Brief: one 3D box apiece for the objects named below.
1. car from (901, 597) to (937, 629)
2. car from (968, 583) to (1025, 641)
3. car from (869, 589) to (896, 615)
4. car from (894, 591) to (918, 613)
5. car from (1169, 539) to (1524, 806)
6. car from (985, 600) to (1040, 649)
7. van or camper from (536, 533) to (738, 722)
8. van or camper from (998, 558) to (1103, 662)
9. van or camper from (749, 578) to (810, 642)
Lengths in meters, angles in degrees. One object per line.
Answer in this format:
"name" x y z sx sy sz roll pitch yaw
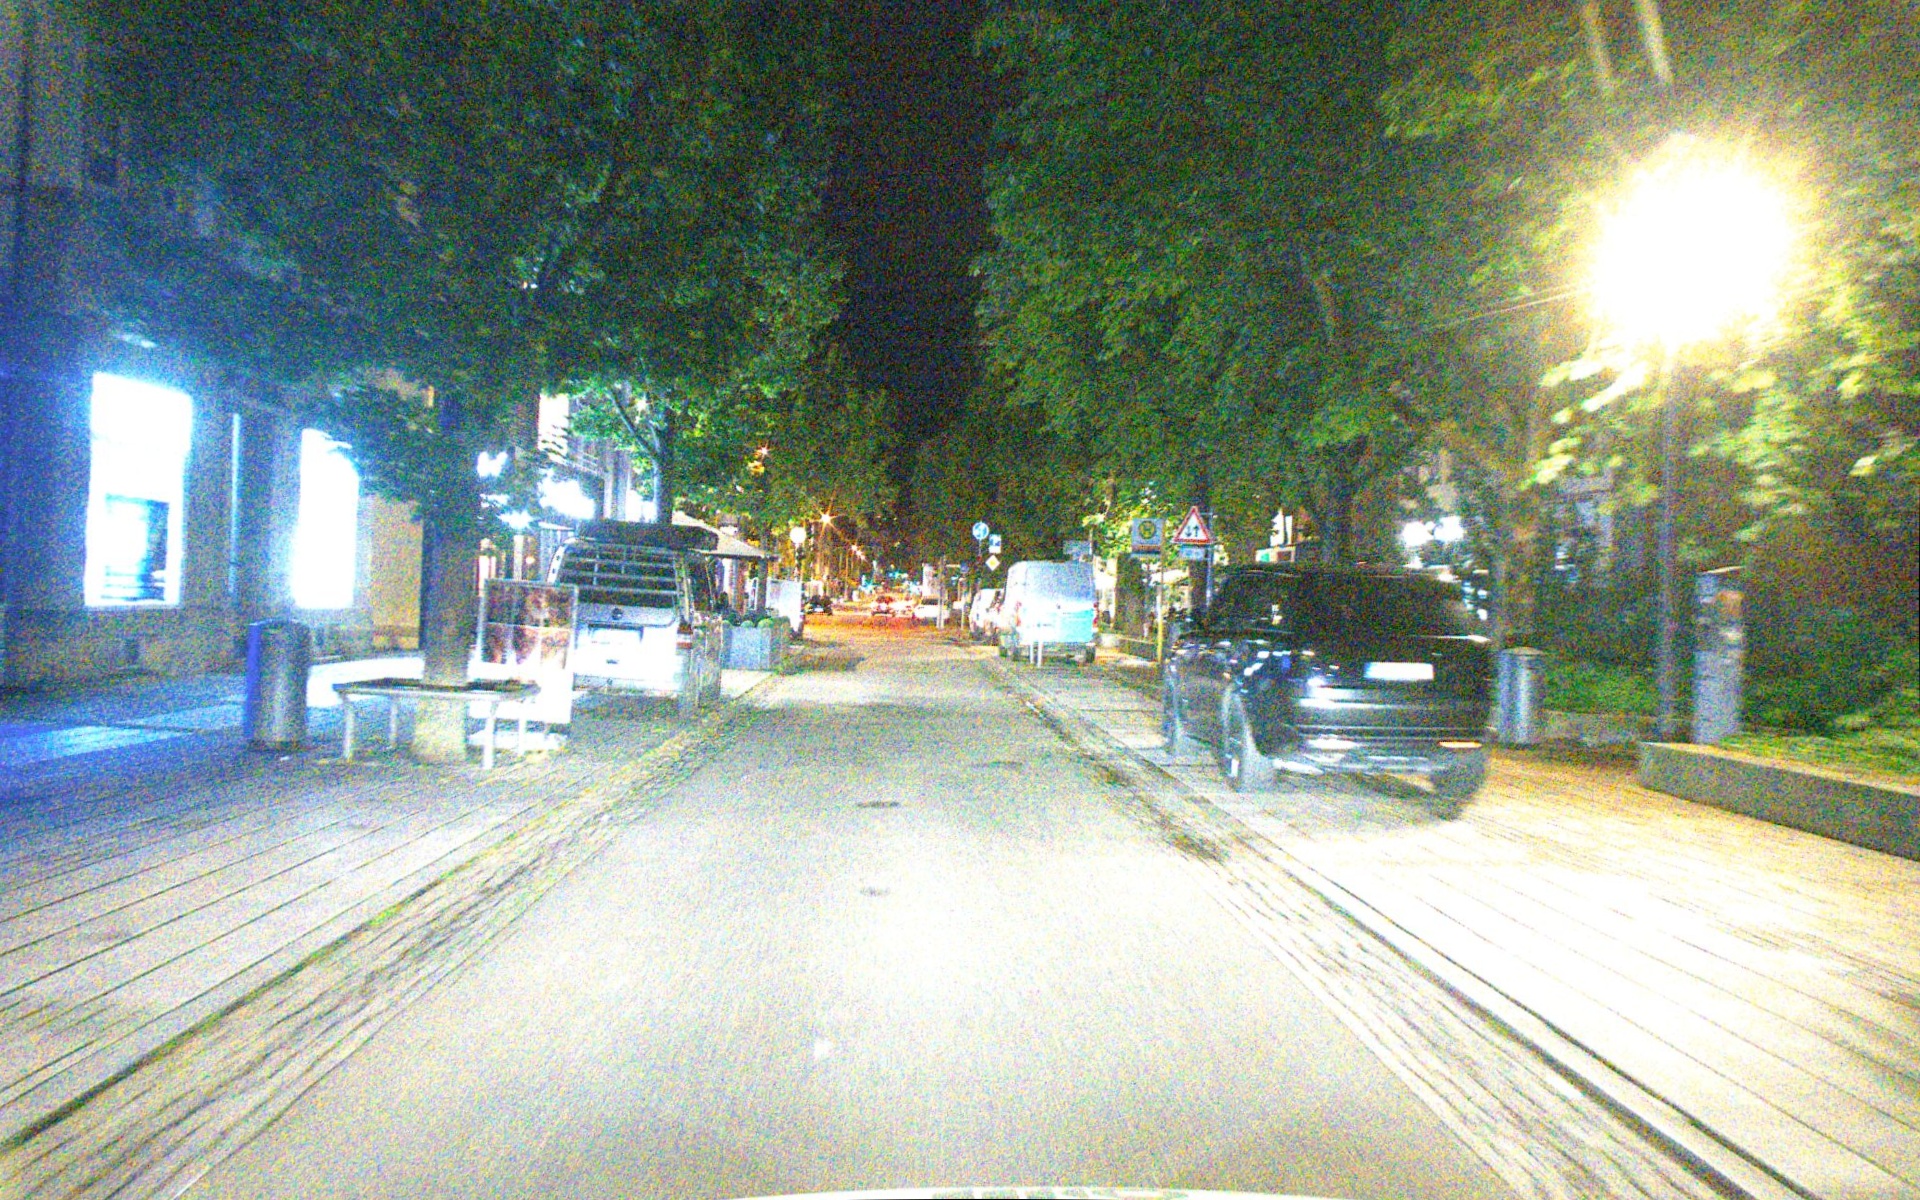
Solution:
"car" -2.127 0.663 86.410 1.802 1.569 3.844 2 0 -2
"car" 1.263 0.420 58.674 1.802 1.934 3.844 2 0 -2
"car" -5.807 0.155 123.286 1.954 1.855 3.997 2 0 -3
"car" -4.799 0.179 147.218 1.954 1.855 3.997 2 0 -3
"car" 3.031 0.523 13.948 1.778 1.860 4.345 2 0 -3
"car" 1.660 0.763 52.926 1.500 1.443 3.844 2 0 -2
"van or camper" -3.961 0.312 20.995 1.829 2.046 4.259 3 0 -3
"van or camper" 2.129 0.240 40.016 2.066 2.358 4.259 1 0 -3
"van or camper" -6.060 0.316 55.670 1.898 2.023 3.840 2 0 -6
